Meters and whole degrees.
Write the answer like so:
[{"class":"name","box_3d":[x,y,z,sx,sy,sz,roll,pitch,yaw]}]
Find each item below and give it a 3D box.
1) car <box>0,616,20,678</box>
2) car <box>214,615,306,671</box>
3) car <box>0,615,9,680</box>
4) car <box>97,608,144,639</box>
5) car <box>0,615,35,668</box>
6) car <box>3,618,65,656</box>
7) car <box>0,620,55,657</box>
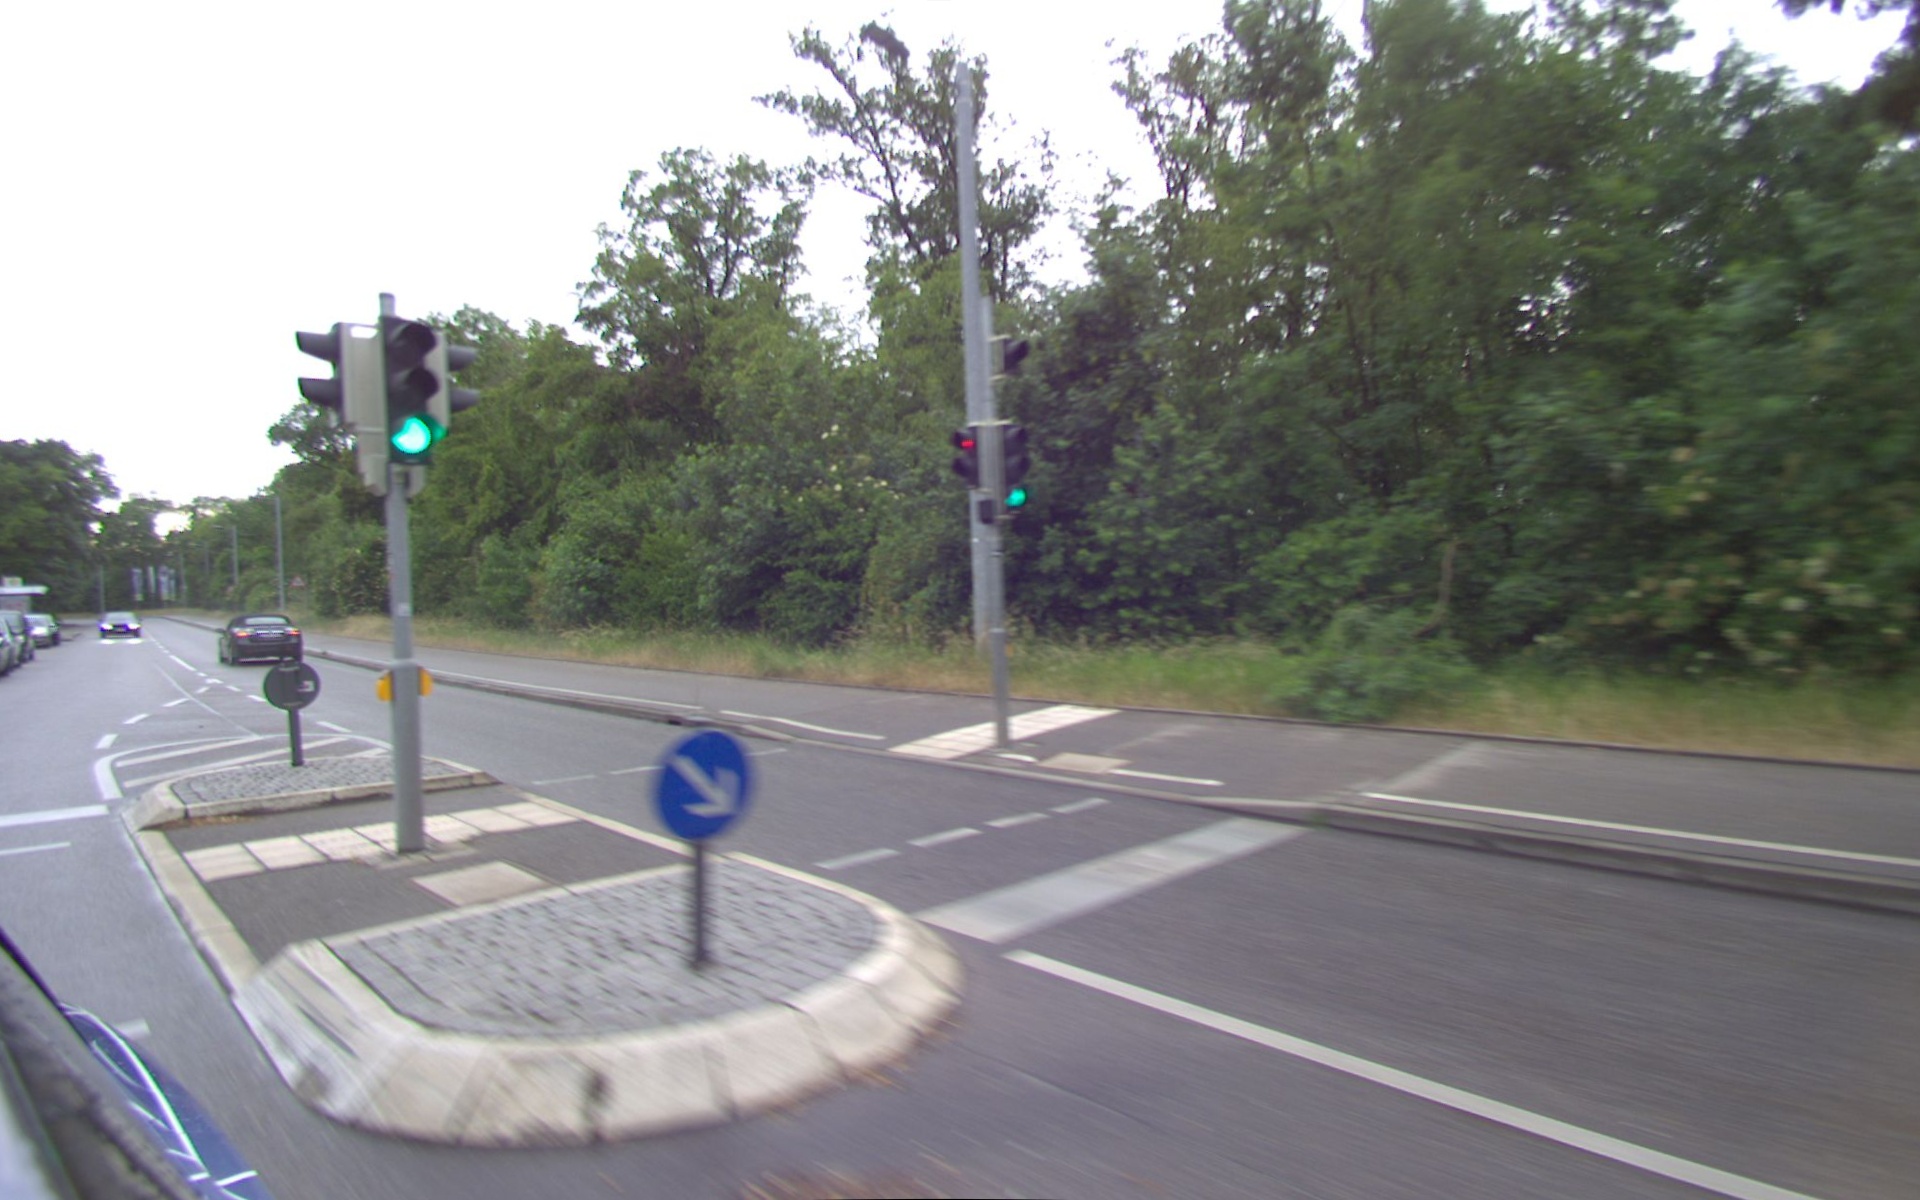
[{"class":"car","box_3d":[-26.085,1.216,26.630,1.771,1.498,4.503,-1,1,-40]},{"class":"car","box_3d":[-20.425,1.195,29.447,1.722,1.471,4.420,0,0,-41]},{"class":"car","box_3d":[-22.629,1.110,22.601,1.730,1.454,4.608,-1,0,-40]},{"class":"car","box_3d":[-48.404,1.344,58.427,1.968,1.737,4.008,0,-1,-38]},{"class":"car","box_3d":[-29.977,1.262,31.344,1.708,1.580,4.529,0,-1,-40]},{"class":"car","box_3d":[-43.315,1.682,47.426,1.806,1.559,4.639,0,1,-38]},{"class":"car","box_3d":[-40.534,1.637,43.811,1.790,1.408,4.110,-1,1,-39]}]
